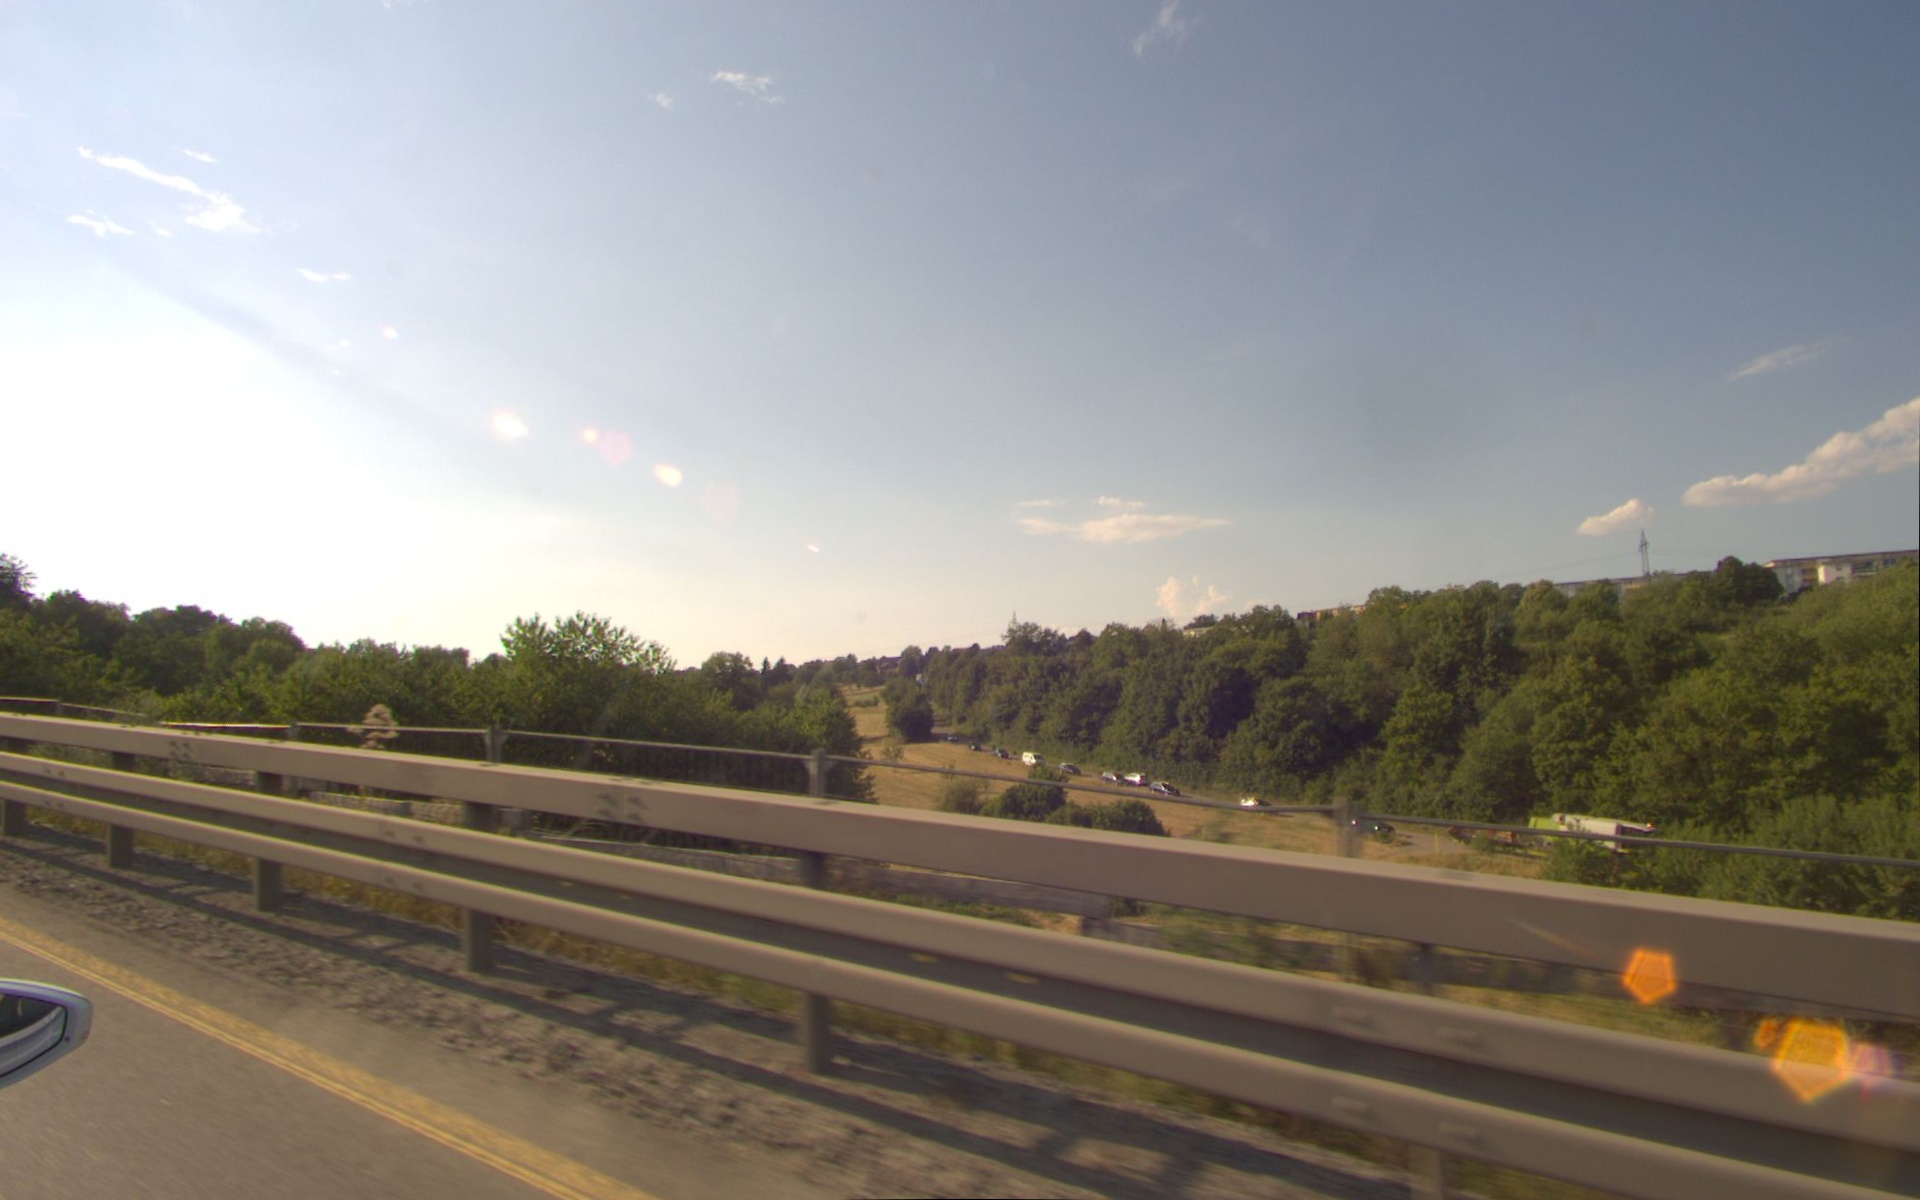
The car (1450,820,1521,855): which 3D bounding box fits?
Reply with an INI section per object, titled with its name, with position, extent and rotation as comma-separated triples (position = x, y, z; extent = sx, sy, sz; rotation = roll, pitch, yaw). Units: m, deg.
[car]
position = 44.097, 19.900, 84.151
extent = 1.684, 1.858, 5.104
rotation = 0, -2, -31
